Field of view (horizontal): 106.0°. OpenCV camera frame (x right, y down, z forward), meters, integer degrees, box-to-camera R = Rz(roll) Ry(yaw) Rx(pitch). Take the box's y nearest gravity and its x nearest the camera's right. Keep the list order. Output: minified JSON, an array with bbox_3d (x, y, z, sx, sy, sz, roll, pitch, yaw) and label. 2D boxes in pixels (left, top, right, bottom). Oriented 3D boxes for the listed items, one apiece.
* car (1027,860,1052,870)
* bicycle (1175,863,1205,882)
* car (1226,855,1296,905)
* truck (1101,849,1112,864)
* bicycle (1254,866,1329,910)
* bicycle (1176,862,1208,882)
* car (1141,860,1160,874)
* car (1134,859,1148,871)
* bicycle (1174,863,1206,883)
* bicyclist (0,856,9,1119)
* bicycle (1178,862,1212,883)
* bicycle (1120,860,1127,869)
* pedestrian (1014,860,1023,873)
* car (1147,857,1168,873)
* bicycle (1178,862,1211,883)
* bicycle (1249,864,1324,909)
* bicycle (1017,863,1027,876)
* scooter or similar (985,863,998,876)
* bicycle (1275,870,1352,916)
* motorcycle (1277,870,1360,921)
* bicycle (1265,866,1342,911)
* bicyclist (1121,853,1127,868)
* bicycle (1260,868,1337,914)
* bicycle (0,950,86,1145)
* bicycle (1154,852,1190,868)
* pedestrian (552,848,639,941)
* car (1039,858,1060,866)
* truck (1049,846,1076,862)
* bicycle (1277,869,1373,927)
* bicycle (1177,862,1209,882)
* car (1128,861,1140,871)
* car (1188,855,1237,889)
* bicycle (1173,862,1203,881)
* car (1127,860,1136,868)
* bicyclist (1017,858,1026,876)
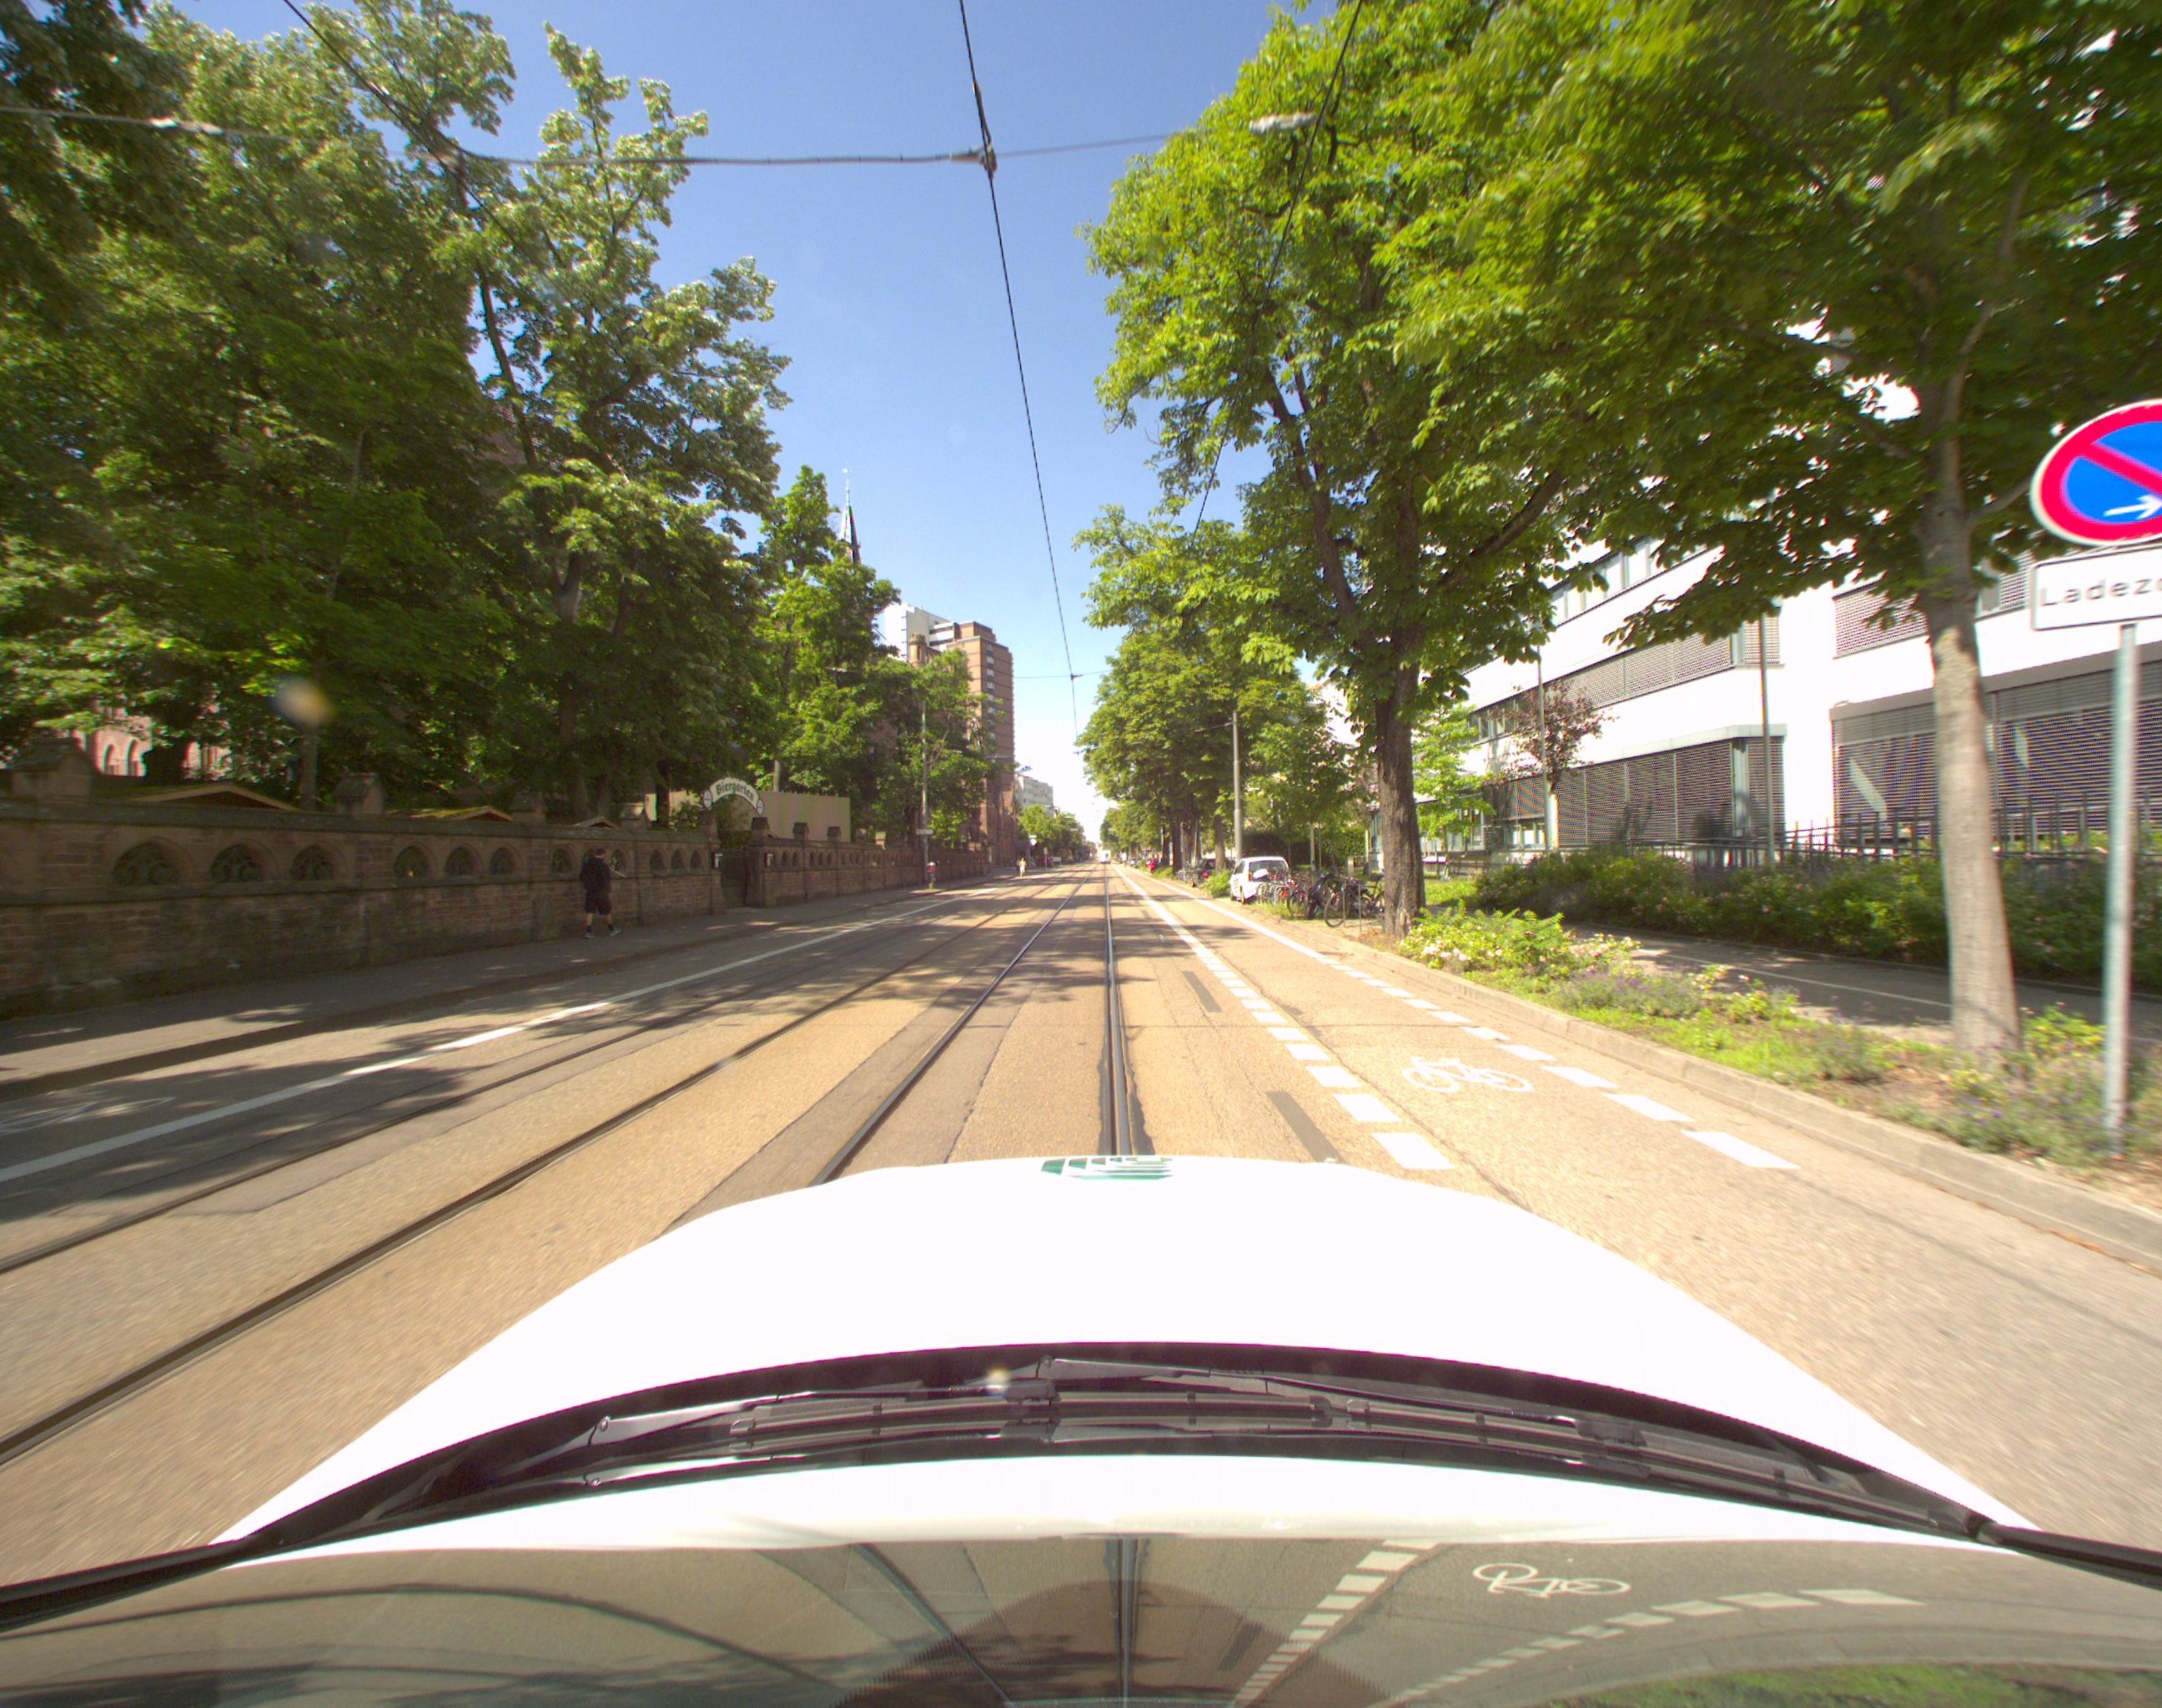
[{"bbox_3d":[-7.383,1.961,145.668,4.017,1.810,1.869,-1,-1,-36],"label":"car"},{"bbox_3d":[6.447,1.077,48.130,1.718,1.086,0.478,-2,-1,0],"label":"bicycle"},{"bbox_3d":[5.827,0.813,26.784,1.623,1.472,3.633,-1,-1,3],"label":"car"},{"bbox_3d":[5.469,0.619,174.401,2.393,3.109,6.039,-1,0,1],"label":"truck"},{"bbox_3d":[5.779,0.927,22.377,1.866,1.141,0.686,-2,-1,0],"label":"bicycle"},{"bbox_3d":[6.350,1.026,46.514,1.718,1.086,0.589,-2,-1,0],"label":"bicycle"},{"bbox_3d":[7.476,1.379,87.839,1.625,1.355,3.900,-2,0,0],"label":"car"},{"bbox_3d":[8.054,1.468,109.523,1.624,1.472,4.115,-1,-1,2],"label":"car"},{"bbox_3d":[6.360,1.090,47.572,1.718,1.086,0.615,-2,-1,0],"label":"bicycle"},{"bbox_3d":[-6.684,0.780,4.317,0.737,1.531,0.948,-1,-1,2],"label":"bicyclist"},{"bbox_3d":[6.249,1.025,44.626,1.718,1.086,0.629,-2,-1,0],"label":"bicycle"},{"bbox_3d":[5.620,1.365,107.090,0.852,1.110,2.140,-1,0,1],"label":"bicycle"},{"bbox_3d":[-7.312,1.504,95.276,0.882,1.512,1.472,-1,-1,-7],"label":"pedestrian"},{"bbox_3d":[7.290,1.063,77.985,1.625,1.472,3.718,-2,0,0],"label":"car"},{"bbox_3d":[6.302,1.022,45.284,1.718,1.086,0.697,-2,-1,0],"label":"bicycle"},{"bbox_3d":[5.801,0.910,23.024,1.897,1.169,0.819,-2,-1,0],"label":"bicycle"},{"bbox_3d":[-5.541,1.461,76.196,0.660,1.154,2.015,-1,0,2],"label":"bicycle"},{"bbox_3d":[-7.753,1.331,70.699,0.329,1.129,1.194,-2,-1,40],"label":"scooter or similar"},{"bbox_3d":[5.775,0.964,20.282,1.718,1.086,0.639,-2,-1,0],"label":"bicycle"},{"bbox_3d":[5.490,0.954,18.884,1.718,1.086,0.658,-2,-1,0],"label":"motorcycle"},{"bbox_3d":[5.763,0.898,21.170,1.786,1.086,0.726,-2,-1,0],"label":"bicycle"},{"bbox_3d":[5.654,0.880,107.249,0.634,1.871,1.024,-2,-1,1],"label":"bicyclist"},{"bbox_3d":[5.773,0.972,21.698,1.842,1.132,0.680,-2,-1,0],"label":"bicycle"},{"bbox_3d":[-6.718,1.174,4.202,0.589,1.105,2.055,-1,0,2],"label":"bicycle"},{"bbox_3d":[7.691,0.514,68.917,3.014,1.332,1.042,-1,-1,4],"label":"bicycle"},{"bbox_3d":[-9.972,0.809,16.777,0.973,1.816,1.185,2,-1,2],"label":"pedestrian"},{"bbox_3d":[-6.883,1.760,178.534,4.011,1.750,1.981,-1,-1,-29],"label":"car"},{"bbox_3d":[-4.624,-0.049,207.554,2.788,3.859,10.056,-2,-1,23],"label":"truck"},{"bbox_3d":[4.961,0.887,16.651,1.718,1.086,0.789,-2,-1,0],"label":"bicycle"},{"bbox_3d":[6.301,1.022,45.927,1.718,1.086,0.570,-2,-1,0],"label":"bicycle"},{"bbox_3d":[8.253,1.830,127.415,1.624,1.472,4.115,-2,0,2],"label":"car"},{"bbox_3d":[6.221,0.823,39.021,1.625,1.483,4.272,-1,0,0],"label":"car"},{"bbox_3d":[6.395,1.064,48.615,1.718,1.086,0.478,-2,-1,0],"label":"bicycle"},{"bbox_3d":[9.442,1.829,153.026,1.624,1.472,4.115,-2,0,2],"label":"car"},{"bbox_3d":[-5.550,1.185,76.159,0.722,1.698,1.147,-1,0,1],"label":"bicyclist"}]
